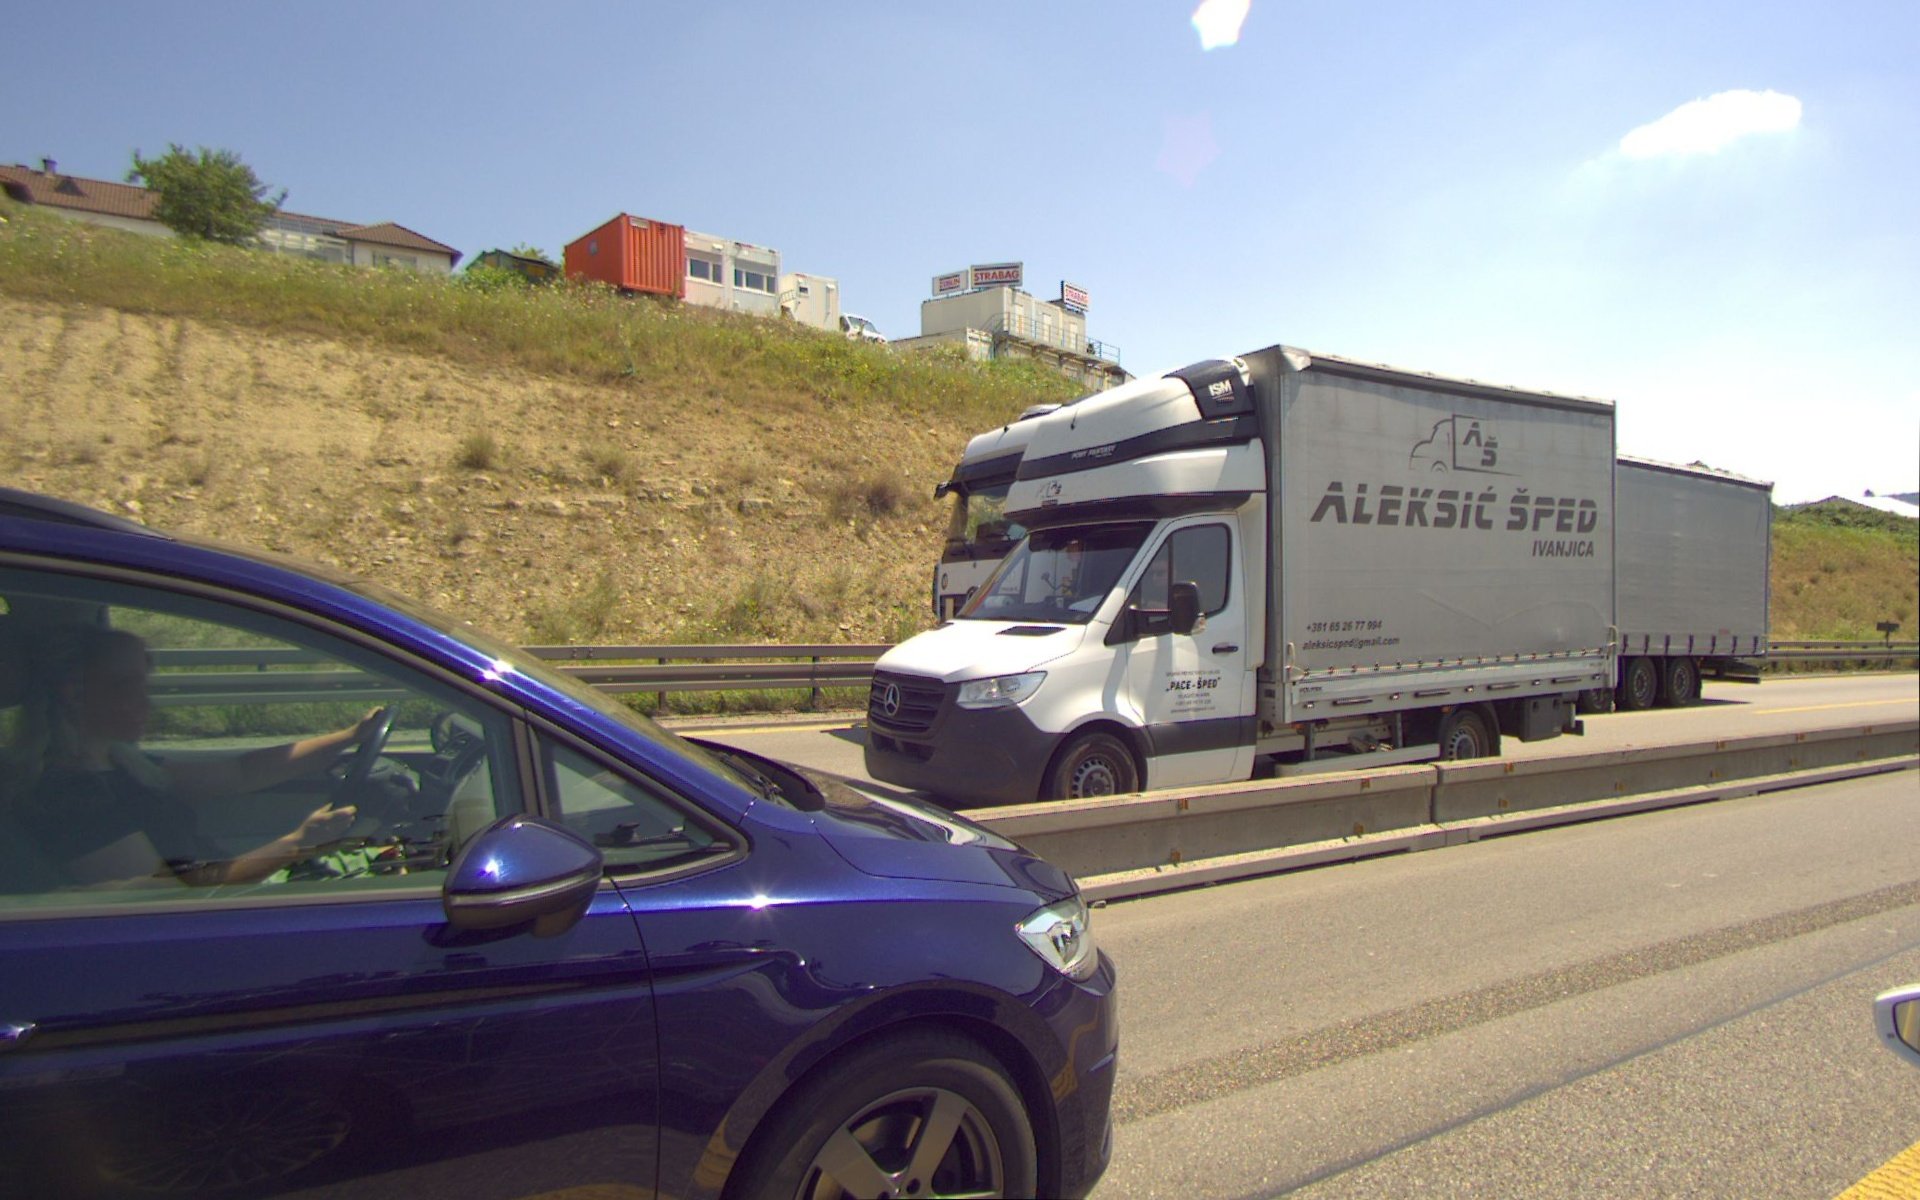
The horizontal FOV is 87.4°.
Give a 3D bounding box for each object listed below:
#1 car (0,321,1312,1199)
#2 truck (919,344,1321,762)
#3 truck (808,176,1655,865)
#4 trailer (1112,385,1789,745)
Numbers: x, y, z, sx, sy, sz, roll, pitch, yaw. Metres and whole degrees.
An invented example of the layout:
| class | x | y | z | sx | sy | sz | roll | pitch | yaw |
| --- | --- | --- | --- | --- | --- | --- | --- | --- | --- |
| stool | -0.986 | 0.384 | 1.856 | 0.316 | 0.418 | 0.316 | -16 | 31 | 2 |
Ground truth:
| class | x | y | z | sx | sy | sz | roll | pitch | yaw |
| --- | --- | --- | --- | --- | --- | --- | --- | --- | --- |
| car | -1.584 | 0.521 | 2.007 | 4.597 | 1.741 | 1.767 | 0 | 1 | -30 |
| truck | 1.884 | -0.449 | 12.040 | 3.909 | 4.104 | 2.685 | 1 | 1 | -30 |
| truck | 2.609 | -0.403 | 8.535 | 7.273 | 3.809 | 2.576 | 1 | 1 | -31 |
| trailer | 8.589 | -0.329 | 16.019 | 13.542 | 4.078 | 2.684 | 1 | 1 | -31 |
